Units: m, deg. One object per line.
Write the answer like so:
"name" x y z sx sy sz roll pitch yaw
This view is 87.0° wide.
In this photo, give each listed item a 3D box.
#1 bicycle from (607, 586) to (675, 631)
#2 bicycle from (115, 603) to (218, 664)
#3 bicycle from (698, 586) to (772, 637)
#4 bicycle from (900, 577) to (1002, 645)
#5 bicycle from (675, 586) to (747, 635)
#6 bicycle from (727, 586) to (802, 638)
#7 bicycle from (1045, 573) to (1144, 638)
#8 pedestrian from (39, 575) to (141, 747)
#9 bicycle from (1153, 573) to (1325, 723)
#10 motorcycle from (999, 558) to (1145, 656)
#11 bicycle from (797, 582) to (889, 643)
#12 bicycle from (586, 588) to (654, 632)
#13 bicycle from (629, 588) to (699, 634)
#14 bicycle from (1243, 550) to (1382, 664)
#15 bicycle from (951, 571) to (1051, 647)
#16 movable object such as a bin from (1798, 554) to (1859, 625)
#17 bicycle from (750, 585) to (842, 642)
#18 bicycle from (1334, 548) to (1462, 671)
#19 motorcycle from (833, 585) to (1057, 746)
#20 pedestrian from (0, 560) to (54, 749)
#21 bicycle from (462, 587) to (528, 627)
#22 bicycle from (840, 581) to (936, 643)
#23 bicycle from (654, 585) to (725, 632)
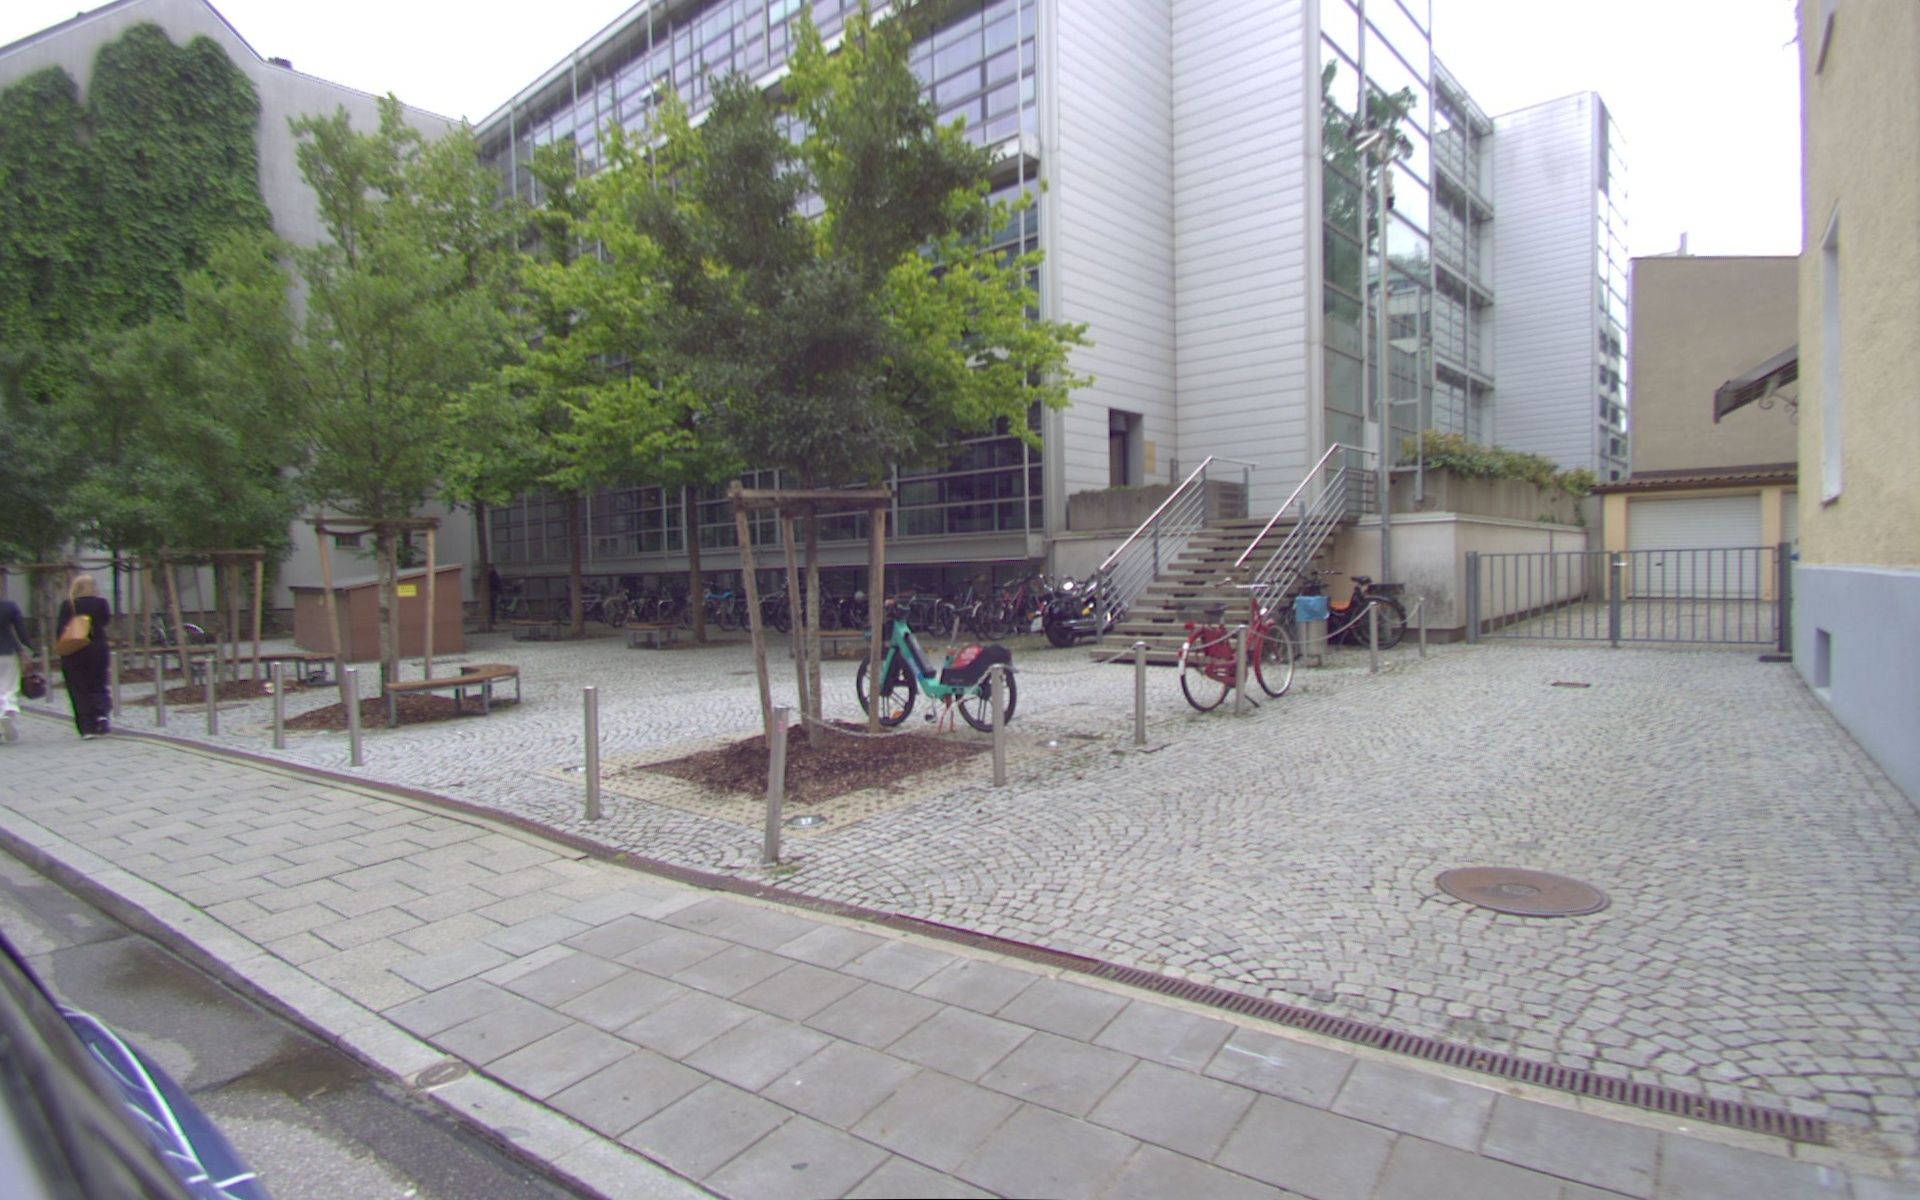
"bicycle" -8.134 0.214 25.846 0.628 1.068 1.556 -1 2 40
"bicycle" -16.846 0.705 21.486 1.983 1.217 0.709 -1 2 19
"bicycle" -5.140 0.246 23.169 0.628 1.068 1.556 -1 2 40
"bicycle" -0.140 0.177 18.530 0.826 1.134 1.878 -1 2 41
"bicycle" -5.870 0.236 23.899 0.628 1.068 1.556 -1 2 40
"bicycle" -4.291 0.246 22.339 0.628 1.068 1.556 -1 2 40
"bicycle" 2.353 0.096 17.844 1.794 1.099 0.412 -1 0 41
"pedestrian" -8.941 0.594 10.395 0.996 1.672 0.547 -1 1 37
"bicycle" 2.615 0.374 9.331 0.747 1.181 1.954 0 3 41
"motorcycle" 1.828 0.066 16.110 0.969 1.422 2.638 -1 2 41
"bicycle" -2.335 0.221 20.398 0.665 1.114 1.878 -1 2 41
"bicycle" -8.798 0.249 26.233 0.628 1.068 1.556 -1 2 40
"bicycle" -7.399 0.253 25.350 0.628 1.068 1.556 -1 2 40
"bicycle" 4.640 0.021 13.100 0.765 1.260 3.195 -1 3 37
"bicycle" 0.741 0.125 17.725 0.697 1.212 1.878 -1 2 41
"movable object such as a bin" 12.359 -0.155 14.409 0.649 0.978 0.472 -1 3 41
"bicycle" -3.426 0.264 21.280 0.704 1.066 1.878 -1 2 41
"bicycle" 5.305 0.047 12.110 0.765 1.260 2.827 -1 3 37
"motorcycle" -0.172 0.486 8.417 1.980 1.181 0.570 0 3 42
"pedestrian" -9.811 0.537 10.213 0.990 1.850 0.769 -1 1 36
"bicycle" -14.258 0.215 31.054 0.602 1.151 1.702 0 2 42
"bicycle" -1.366 0.209 19.600 0.707 1.083 1.878 -1 2 41
"bicycle" -6.508 0.190 24.413 0.628 1.068 1.556 -1 2 40
